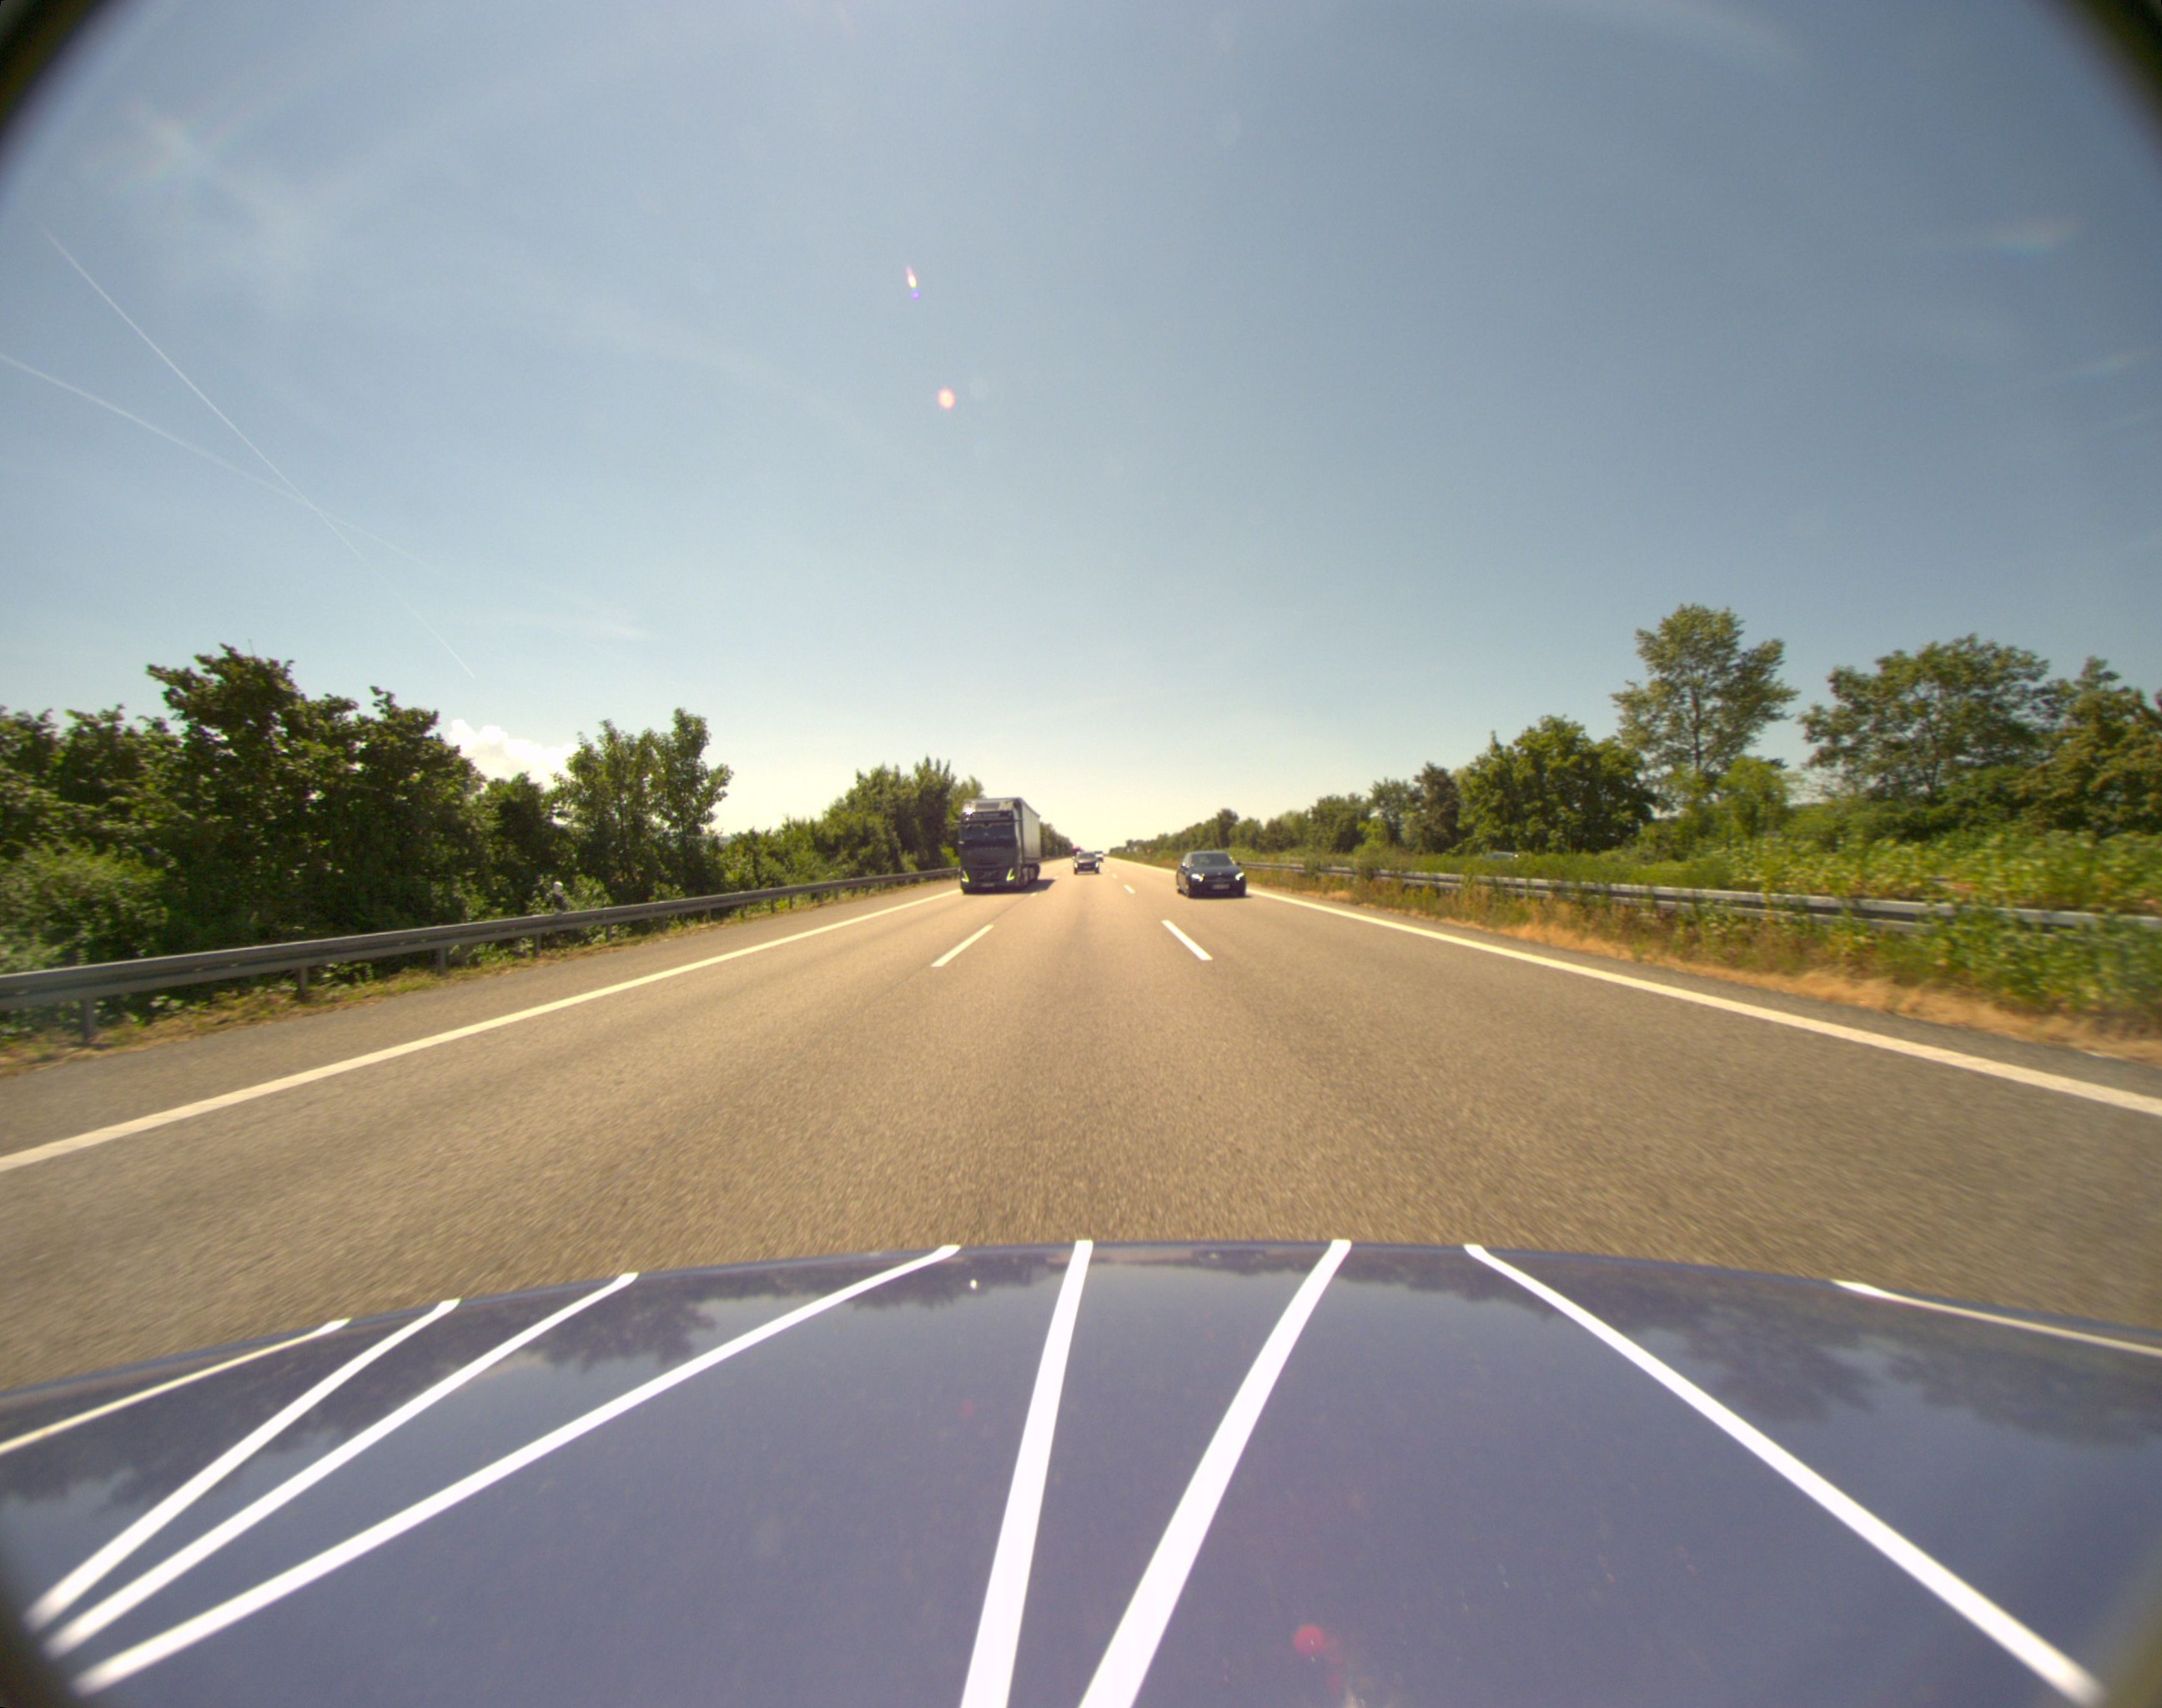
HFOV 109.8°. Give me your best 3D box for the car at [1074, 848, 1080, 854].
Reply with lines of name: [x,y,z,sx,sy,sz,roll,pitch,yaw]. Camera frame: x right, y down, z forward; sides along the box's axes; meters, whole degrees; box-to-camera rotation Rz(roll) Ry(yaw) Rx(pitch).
car: [-1.325,-0.886,256.909,1.998,2.002,4.000,-2,0,1]

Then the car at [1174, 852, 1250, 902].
car: [4.166,0.676,24.695,1.796,1.403,4.052,-2,0,1]

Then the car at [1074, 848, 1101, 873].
car: [0.486,0.429,55.029,1.796,1.696,4.000,-2,0,1]

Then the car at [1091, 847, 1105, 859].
car: [2.657,-0.102,120.899,2.147,1.810,5.267,-2,0,1]

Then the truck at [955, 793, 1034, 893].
truck: [-3.686,-0.460,33.784,2.559,3.932,6.513,-2,1,1]

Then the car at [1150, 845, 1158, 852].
car: [25.584,-1.926,266.107,2.188,2.423,4.954,-1,1,-2]

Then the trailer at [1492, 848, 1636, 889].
trailer: [21.794,0.579,34.783,2.495,1.674,6.489,-1,0,1]

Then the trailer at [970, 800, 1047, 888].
trailer: [-3.608,-0.511,41.328,2.559,3.931,13.537,-2,0,1]
